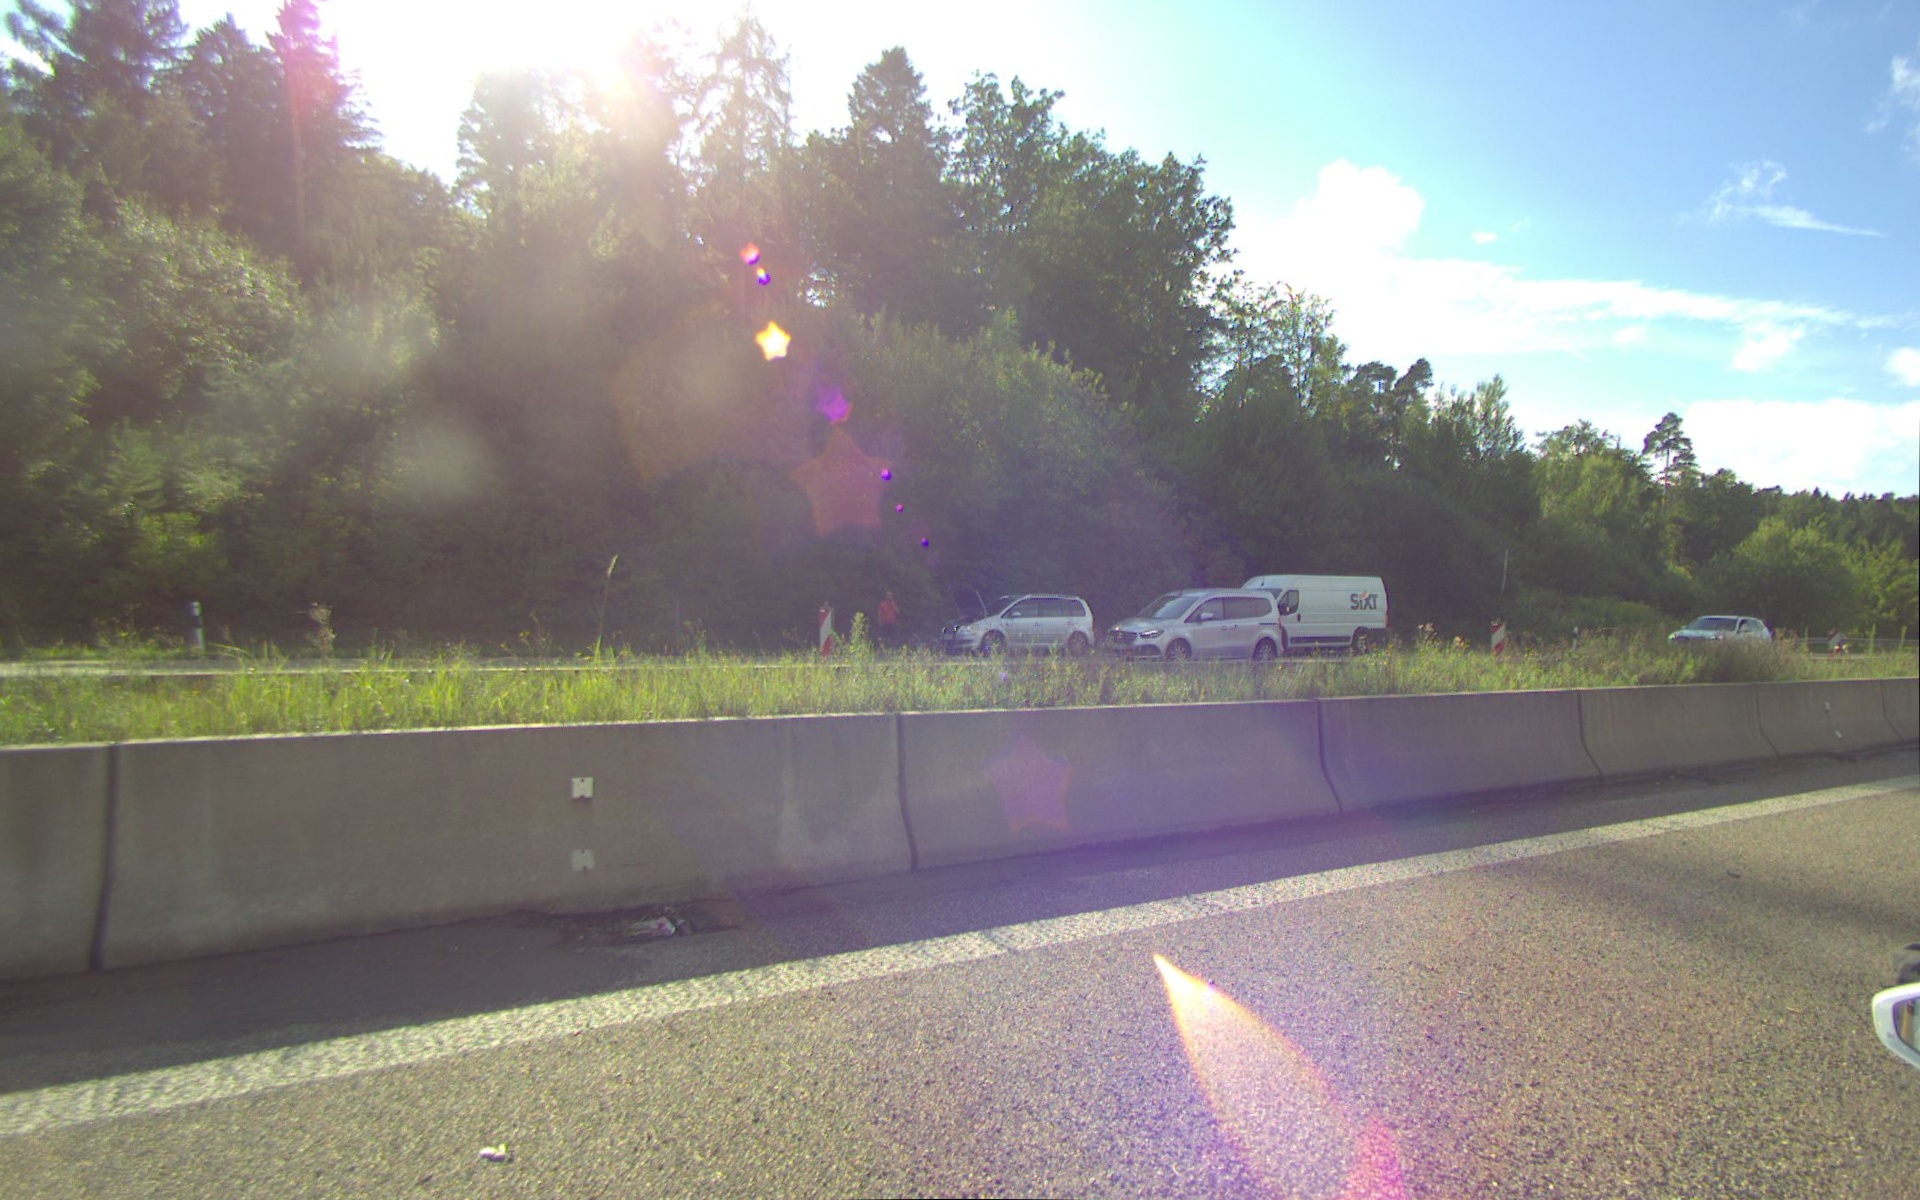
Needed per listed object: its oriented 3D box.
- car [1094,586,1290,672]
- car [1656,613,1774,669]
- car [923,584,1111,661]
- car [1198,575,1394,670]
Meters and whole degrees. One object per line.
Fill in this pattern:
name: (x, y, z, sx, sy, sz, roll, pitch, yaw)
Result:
car: (5.331, 0.667, 22.958, 4.314, 1.809, 1.769, 2, 0, -31)
car: (26.452, 1.430, 35.168, 4.314, 1.809, 1.769, 2, 0, -31)
car: (1.548, 0.609, 26.545, 4.706, 1.878, 1.851, 2, 0, -31)
car: (10.512, 0.716, 31.196, 6.447, 2.720, 2.018, 2, 0, -31)
